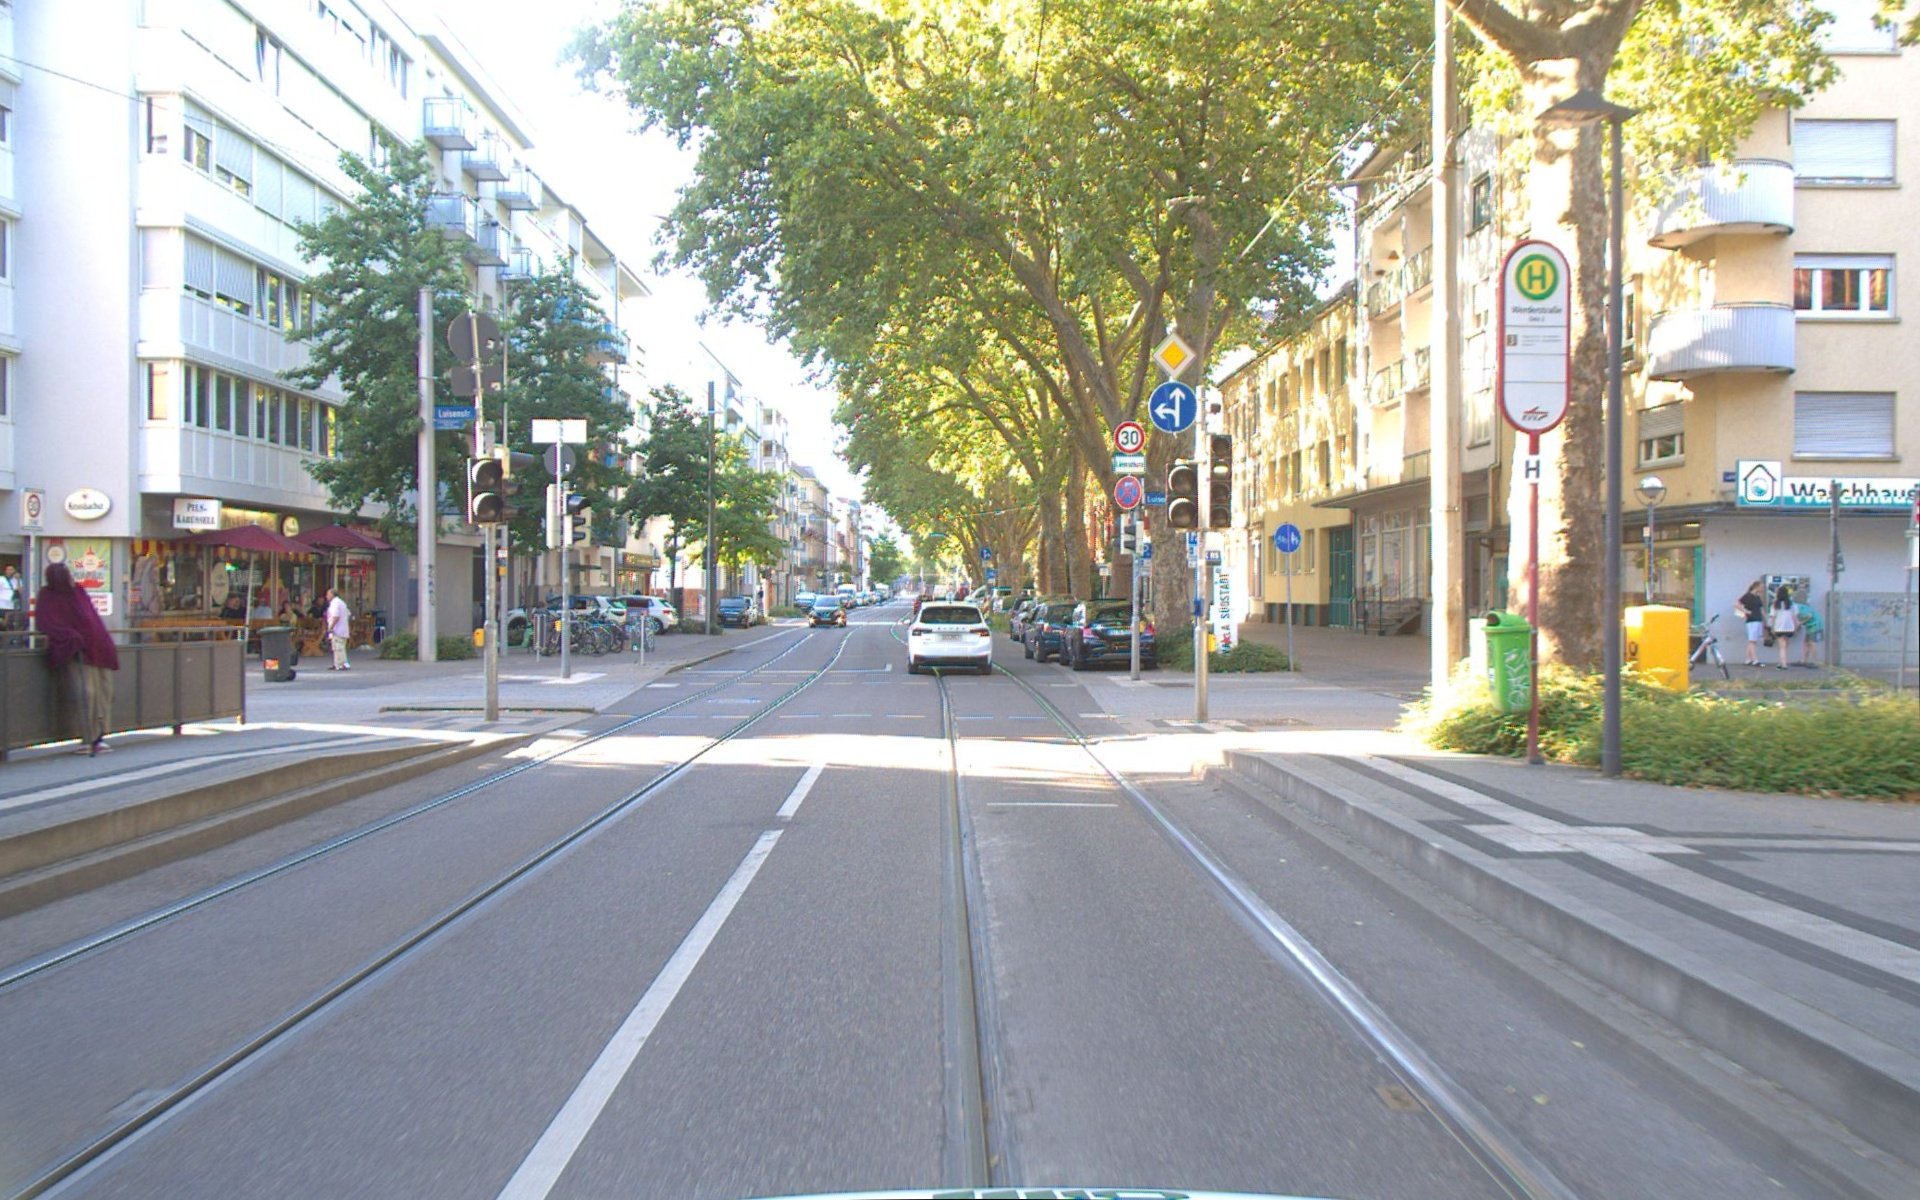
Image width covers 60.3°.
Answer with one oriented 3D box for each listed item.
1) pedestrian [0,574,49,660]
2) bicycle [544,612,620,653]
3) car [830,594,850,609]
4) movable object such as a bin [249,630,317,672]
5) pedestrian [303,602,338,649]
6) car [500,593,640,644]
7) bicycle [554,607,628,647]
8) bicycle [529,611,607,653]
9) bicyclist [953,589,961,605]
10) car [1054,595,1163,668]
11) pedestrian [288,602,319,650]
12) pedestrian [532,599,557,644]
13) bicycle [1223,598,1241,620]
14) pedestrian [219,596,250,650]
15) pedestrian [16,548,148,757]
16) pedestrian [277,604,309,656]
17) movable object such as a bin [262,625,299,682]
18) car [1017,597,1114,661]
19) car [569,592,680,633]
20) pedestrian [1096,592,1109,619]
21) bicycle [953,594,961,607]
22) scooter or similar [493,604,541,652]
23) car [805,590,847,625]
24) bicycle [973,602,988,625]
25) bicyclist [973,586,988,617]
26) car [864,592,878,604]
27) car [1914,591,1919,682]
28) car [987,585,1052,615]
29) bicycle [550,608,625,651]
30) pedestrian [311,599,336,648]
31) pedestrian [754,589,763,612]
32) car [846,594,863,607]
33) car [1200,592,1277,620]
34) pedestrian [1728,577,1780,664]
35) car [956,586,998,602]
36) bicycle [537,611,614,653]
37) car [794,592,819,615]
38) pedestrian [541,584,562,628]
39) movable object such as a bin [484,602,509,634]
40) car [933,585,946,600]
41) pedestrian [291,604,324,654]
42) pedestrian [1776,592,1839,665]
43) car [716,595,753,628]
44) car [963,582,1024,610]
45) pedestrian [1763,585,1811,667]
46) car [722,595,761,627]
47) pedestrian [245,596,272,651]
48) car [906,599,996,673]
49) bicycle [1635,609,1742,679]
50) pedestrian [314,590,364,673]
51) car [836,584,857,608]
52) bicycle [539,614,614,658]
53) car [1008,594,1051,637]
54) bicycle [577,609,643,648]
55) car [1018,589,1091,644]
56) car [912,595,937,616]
[{"bbox_3d":[-18.676,0.338,32.788,0.731,1.688,0.769,0,0,14],"label":"pedestrian"},{"bbox_3d":[-9.631,0.830,42.188,1.794,1.025,0.657,1,-1,-6],"label":"bicycle"},{"bbox_3d":[-12.633,0.104,174.206,1.953,1.557,3.999,0,0,-1],"label":"car"},{"bbox_3d":[-12.904,0.977,31.562,1.176,0.771,0.661,1,-1,-23],"label":"movable object such as a bin"},{"bbox_3d":[-16.961,0.671,43.881,0.659,1.219,0.655,0,0,-2],"label":"pedestrian"},{"bbox_3d":[-12.196,0.571,51.888,3.930,1.501,1.851,1,0,-1],"label":"car"},{"bbox_3d":[-9.652,0.705,43.321,1.794,1.025,0.657,1,-1,-6],"label":"bicycle"},{"bbox_3d":[-9.734,0.791,41.099,1.794,1.025,0.657,1,-1,-6],"label":"bicycle"},{"bbox_3d":[-0.251,-0.289,140.586,0.636,1.367,0.934,0,0,-3],"label":"bicyclist"},{"bbox_3d":[3.174,0.632,36.145,1.729,1.488,5.010,0,0,-2],"label":"car"},{"bbox_3d":[-16.896,0.662,42.595,0.550,1.219,0.624,0,0,-2],"label":"pedestrian"},{"bbox_3d":[-12.215,0.627,48.642,0.700,1.320,0.745,0,0,-15],"label":"pedestrian"},{"bbox_3d":[14.225,0.481,86.574,0.571,1.123,1.922,-2,0,-1],"label":"bicycle"},{"bbox_3d":[-16.526,0.519,37.657,0.557,1.219,0.507,0,0,-36],"label":"pedestrian"},{"bbox_3d":[-6.953,0.404,13.127,0.640,1.613,0.772,0,0,-1],"label":"pedestrian"},{"bbox_3d":[-15.725,0.703,39.012,0.501,1.219,0.564,0,0,1],"label":"pedestrian"},{"bbox_3d":[-11.776,0.924,28.661,0.530,0.948,0.647,0,0,-18],"label":"movable object such as a bin"},{"bbox_3d":[2.564,0.673,41.197,1.828,1.462,4.222,-1,0,-4],"label":"car"},{"bbox_3d":[-12.849,0.478,63.587,3.933,1.501,1.850,1,0,-4],"label":"car"},{"bbox_3d":[10.153,0.399,118.006,0.751,1.899,1.187,0,0,-5],"label":"pedestrian"},{"bbox_3d":[-0.243,0.075,140.574,0.636,1.089,1.582,0,0,-3],"label":"bicycle"},{"bbox_3d":[-11.116,0.700,41.497,1.058,1.197,0.498,1,-1,-3],"label":"scooter or similar"},{"bbox_3d":[-6.598,0.335,81.712,1.834,1.617,4.144,2,0,-3],"label":"car"},{"bbox_3d":[0.994,0.656,80.267,0.667,1.089,1.781,0,0,0],"label":"bicycle"},{"bbox_3d":[0.993,0.072,80.340,0.664,1.468,1.047,0,0,0],"label":"bicyclist"},{"bbox_3d":[-13.036,-0.329,242.253,1.953,1.668,3.999,1,0,-1],"label":"car"},{"bbox_3d":[18.618,0.656,28.065,3.783,1.579,1.866,0,3,-1],"label":"car"},{"bbox_3d":[4.233,-0.014,117.671,4.453,2.113,1.999,0,0,-3],"label":"car"},{"bbox_3d":[-9.574,0.757,42.510,1.794,1.082,0.657,1,-1,-6],"label":"bicycle"},{"bbox_3d":[-15.874,0.586,41.257,0.506,1.219,0.558,0,0,-30],"label":"pedestrian"},{"bbox_3d":[-16.392,0.066,134.705,0.650,1.858,0.965,0,0,-3],"label":"pedestrian"},{"bbox_3d":[-13.140,0.045,206.250,1.953,1.557,3.999,0,0,-1],"label":"car"},{"bbox_3d":[16.225,0.348,96.364,4.051,1.621,1.997,0,0,-6],"label":"car"},{"bbox_3d":[15.891,0.404,33.105,0.693,1.712,0.655,0,0,-28],"label":"pedestrian"},{"bbox_3d":[2.524,-0.894,243.478,6.008,2.322,2.528,0,0,-3],"label":"car"},{"bbox_3d":[-9.652,0.802,41.542,1.794,1.025,0.657,1,-1,-6],"label":"bicycle"},{"bbox_3d":[-11.970,0.249,129.414,1.668,1.679,4.240,2,0,-3],"label":"car"},{"bbox_3d":[-15.866,0.229,64.256,0.650,1.720,0.748,0,0,-3],"label":"pedestrian"},{"bbox_3d":[-15.796,0.596,56.338,0.664,1.074,0.622,0,0,1],"label":"movable object such as a bin"},{"bbox_3d":[-3.264,-1.150,262.778,2.157,2.429,3.999,0,0,-1],"label":"car"},{"bbox_3d":[-15.944,0.700,40.389,0.595,1.219,0.683,0,0,-36],"label":"pedestrian"},{"bbox_3d":[16.841,0.557,32.884,0.824,1.439,0.767,0,0,-9],"label":"pedestrian"},{"bbox_3d":[-10.912,0.550,80.090,1.681,1.489,3.993,3,0,-8],"label":"car"},{"bbox_3d":[3.321,-0.413,164.647,6.008,2.681,2.528,0,0,-3],"label":"car"},{"bbox_3d":[15.996,0.489,32.002,0.690,1.566,0.687,0,0,40],"label":"pedestrian"},{"bbox_3d":[-11.199,0.561,84.870,1.680,1.489,4.372,3,0,-5],"label":"car"},{"bbox_3d":[-15.829,0.520,37.322,0.503,1.219,0.561,0,0,-17],"label":"pedestrian"},{"bbox_3d":[-0.239,0.699,34.077,1.726,1.408,3.998,0,0,-2],"label":"car"},{"bbox_3d":[13.144,0.787,29.823,1.767,1.177,0.740,-2,0,-23],"label":"bicycle"},{"bbox_3d":[-11.968,0.593,31.885,0.711,1.583,0.768,0,0,-7],"label":"pedestrian"},{"bbox_3d":[-12.757,-0.434,185.929,2.134,2.642,4.948,0,0,-1],"label":"car"},{"bbox_3d":[-9.173,0.866,39.626,1.658,1.025,0.657,1,-1,-6],"label":"bicycle"},{"bbox_3d":[2.636,0.589,63.051,1.531,1.545,2.910,-1,-1,1],"label":"car"},{"bbox_3d":[-9.458,0.770,44.678,1.658,1.025,0.657,1,-1,-6],"label":"bicycle"},{"bbox_3d":[2.983,0.536,53.066,1.820,1.631,4.779,-1,-1,-2],"label":"car"},{"bbox_3d":[-2.632,0.386,123.364,1.725,1.501,4.000,0,0,0],"label":"car"}]
